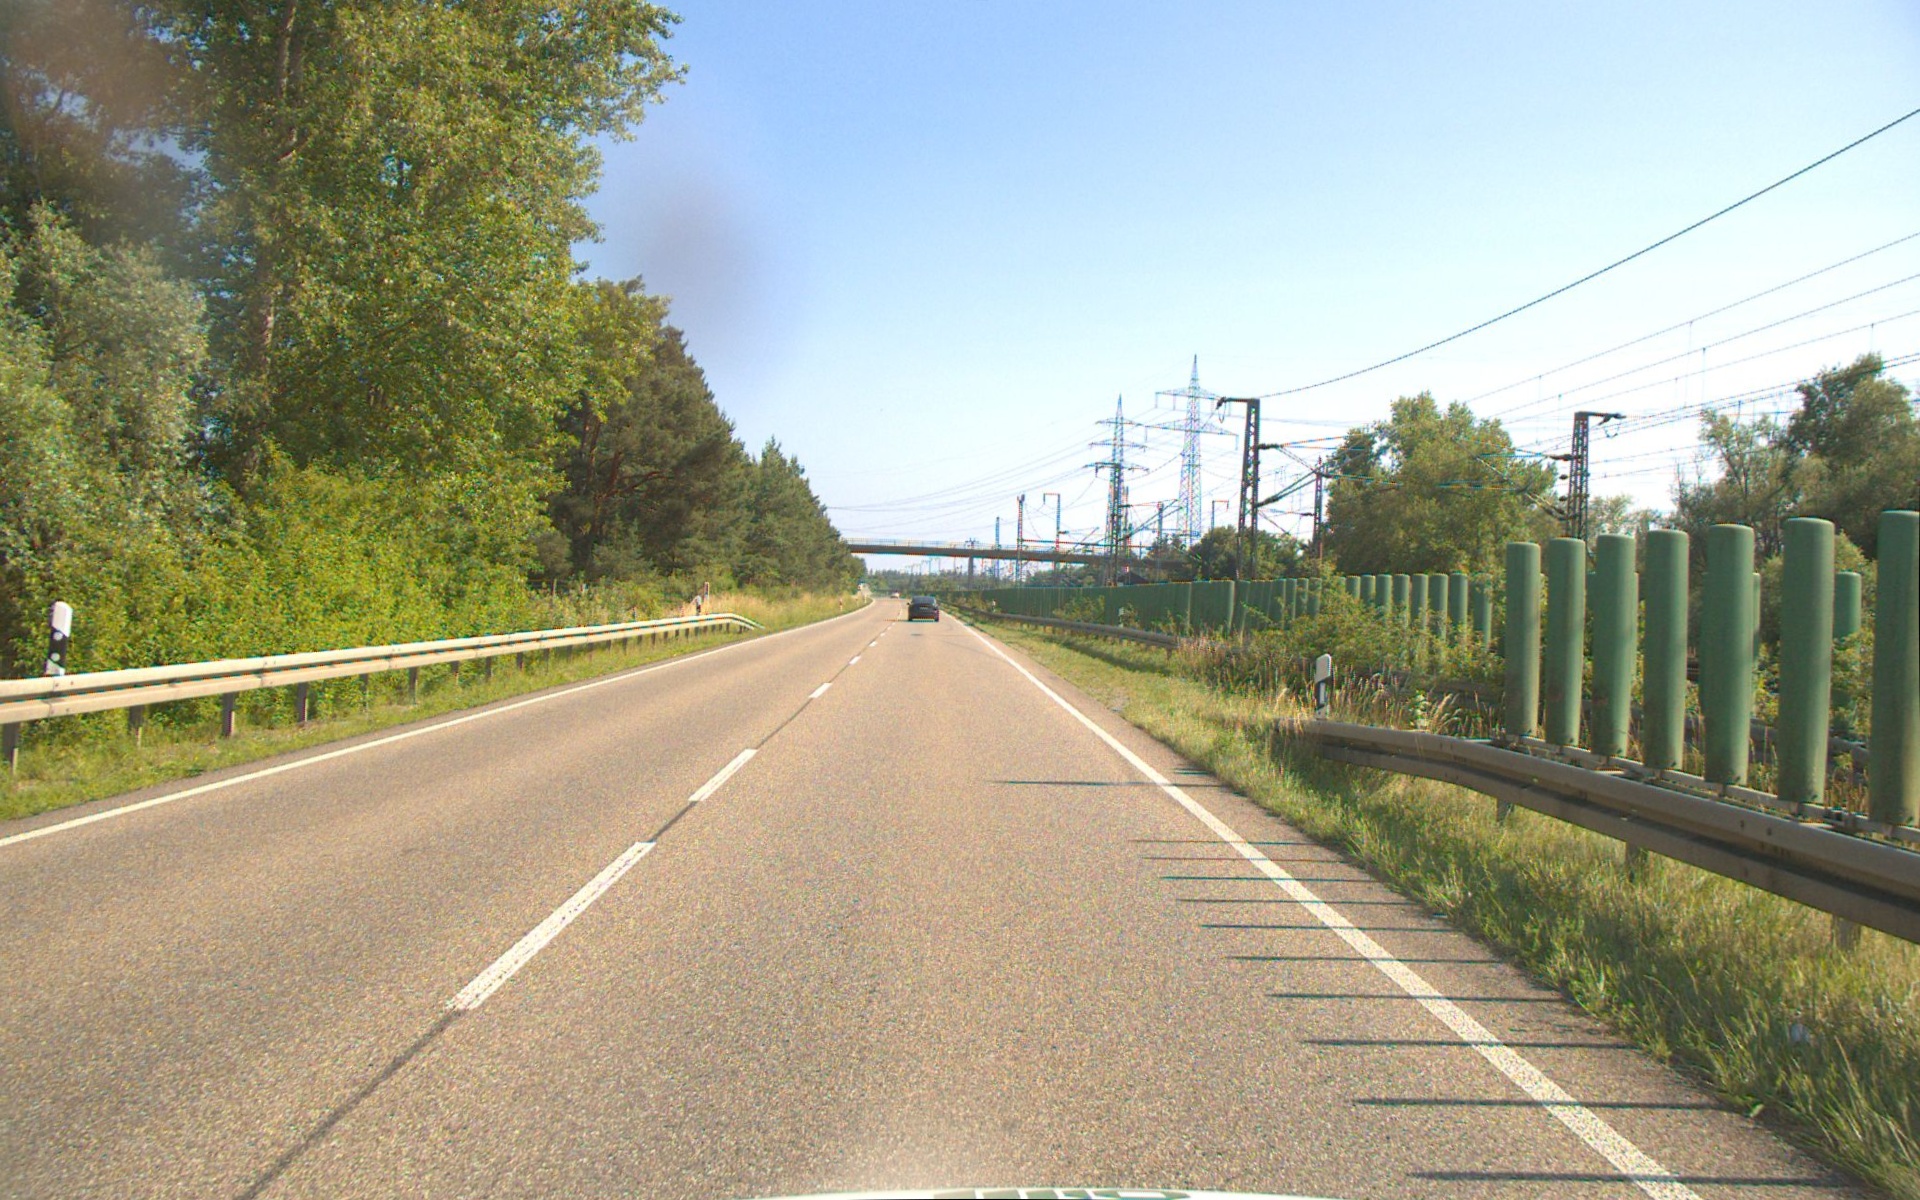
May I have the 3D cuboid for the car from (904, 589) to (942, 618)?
[{"bbox_3d":[-2.191,0.197,96.888,1.824,1.670,3.993,0,0,-8],"label":"car"}]
